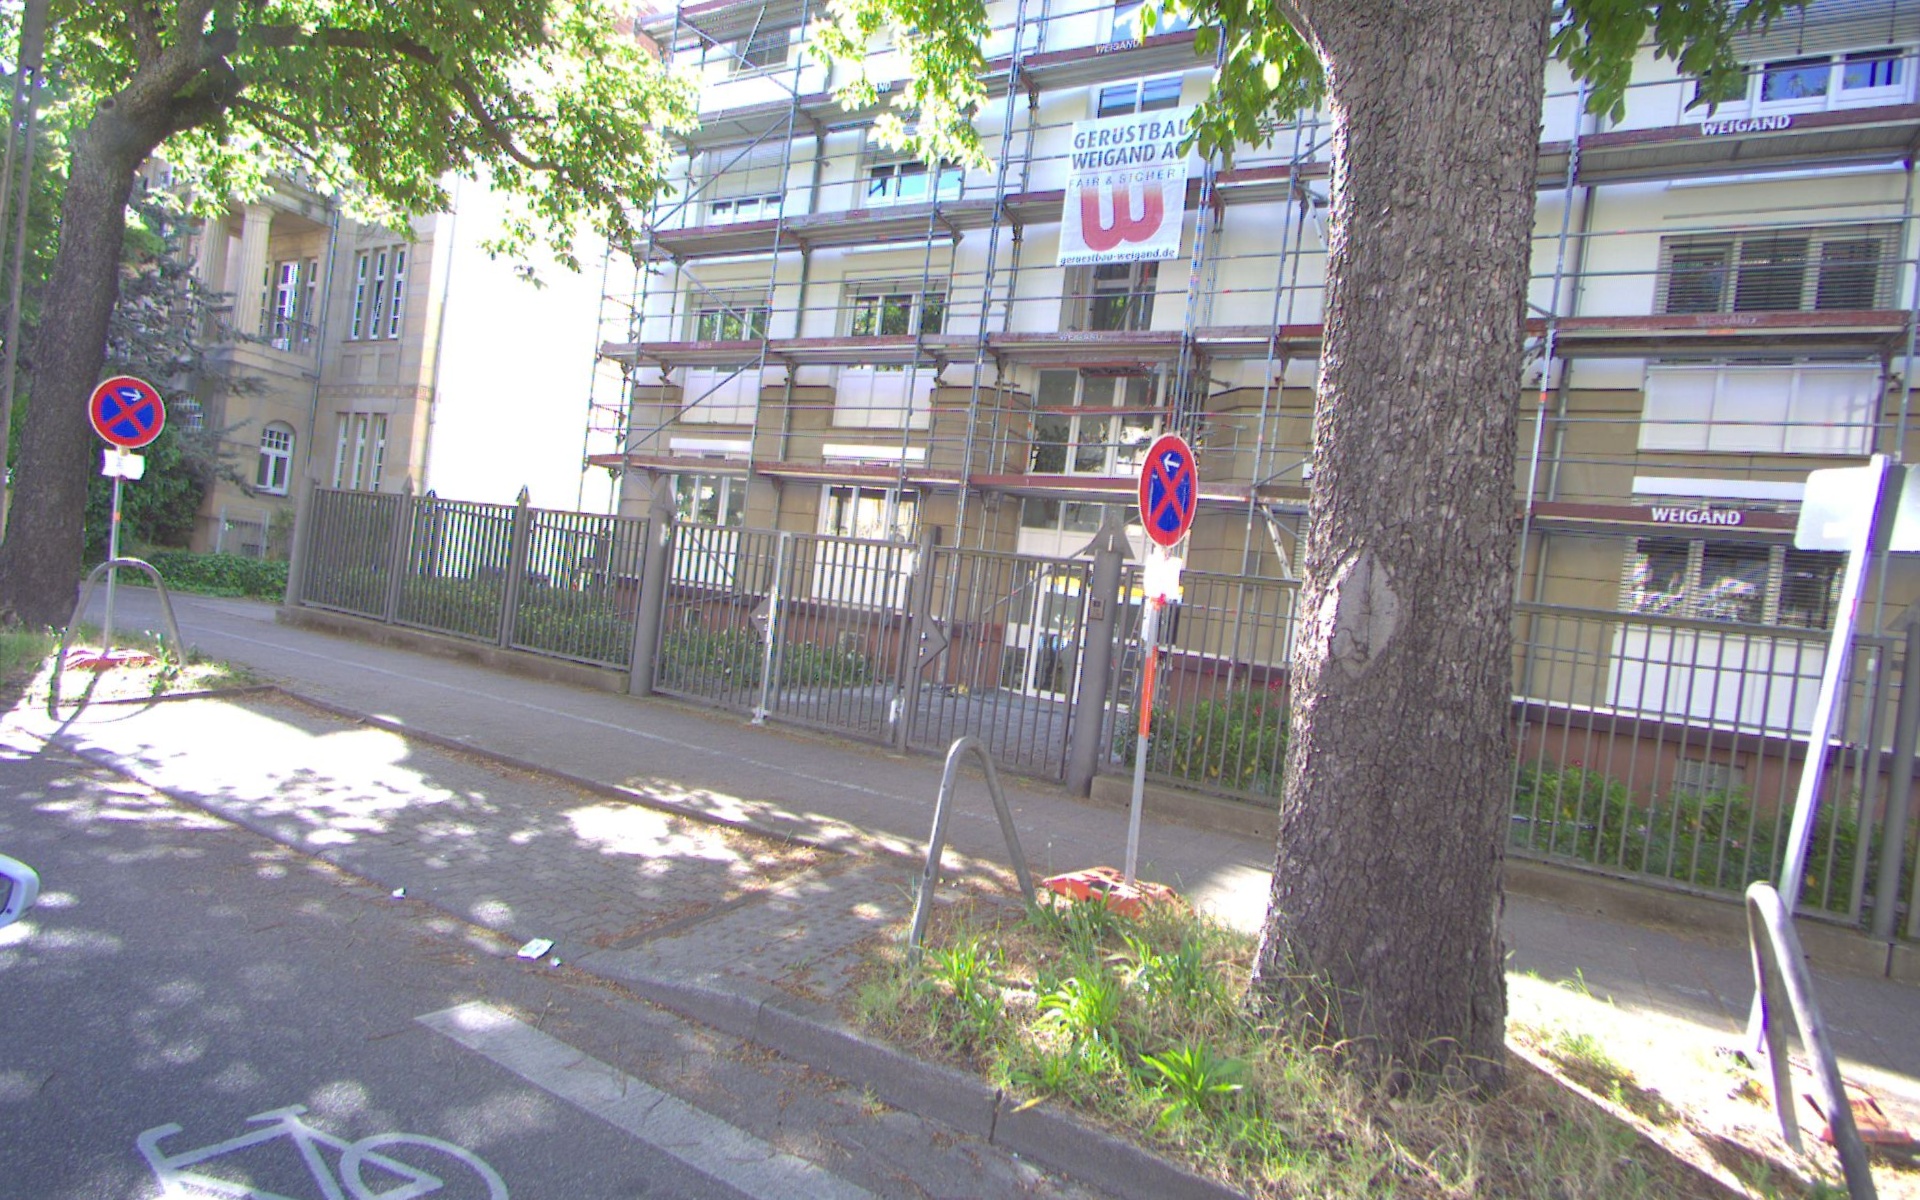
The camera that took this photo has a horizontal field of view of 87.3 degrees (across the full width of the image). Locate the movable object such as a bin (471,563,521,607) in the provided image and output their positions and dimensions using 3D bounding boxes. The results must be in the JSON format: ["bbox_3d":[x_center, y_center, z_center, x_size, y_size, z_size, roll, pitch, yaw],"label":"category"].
[{"bbox_3d":[-11.730,-0.372,25.454,0.637,0.966,0.835,6,-2,30],"label":"movable object such as a bin"}]

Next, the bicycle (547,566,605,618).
[{"bbox_3d":[-10.354,-0.195,27.159,0.428,1.213,1.701,7,-2,14],"label":"bicycle"}]
